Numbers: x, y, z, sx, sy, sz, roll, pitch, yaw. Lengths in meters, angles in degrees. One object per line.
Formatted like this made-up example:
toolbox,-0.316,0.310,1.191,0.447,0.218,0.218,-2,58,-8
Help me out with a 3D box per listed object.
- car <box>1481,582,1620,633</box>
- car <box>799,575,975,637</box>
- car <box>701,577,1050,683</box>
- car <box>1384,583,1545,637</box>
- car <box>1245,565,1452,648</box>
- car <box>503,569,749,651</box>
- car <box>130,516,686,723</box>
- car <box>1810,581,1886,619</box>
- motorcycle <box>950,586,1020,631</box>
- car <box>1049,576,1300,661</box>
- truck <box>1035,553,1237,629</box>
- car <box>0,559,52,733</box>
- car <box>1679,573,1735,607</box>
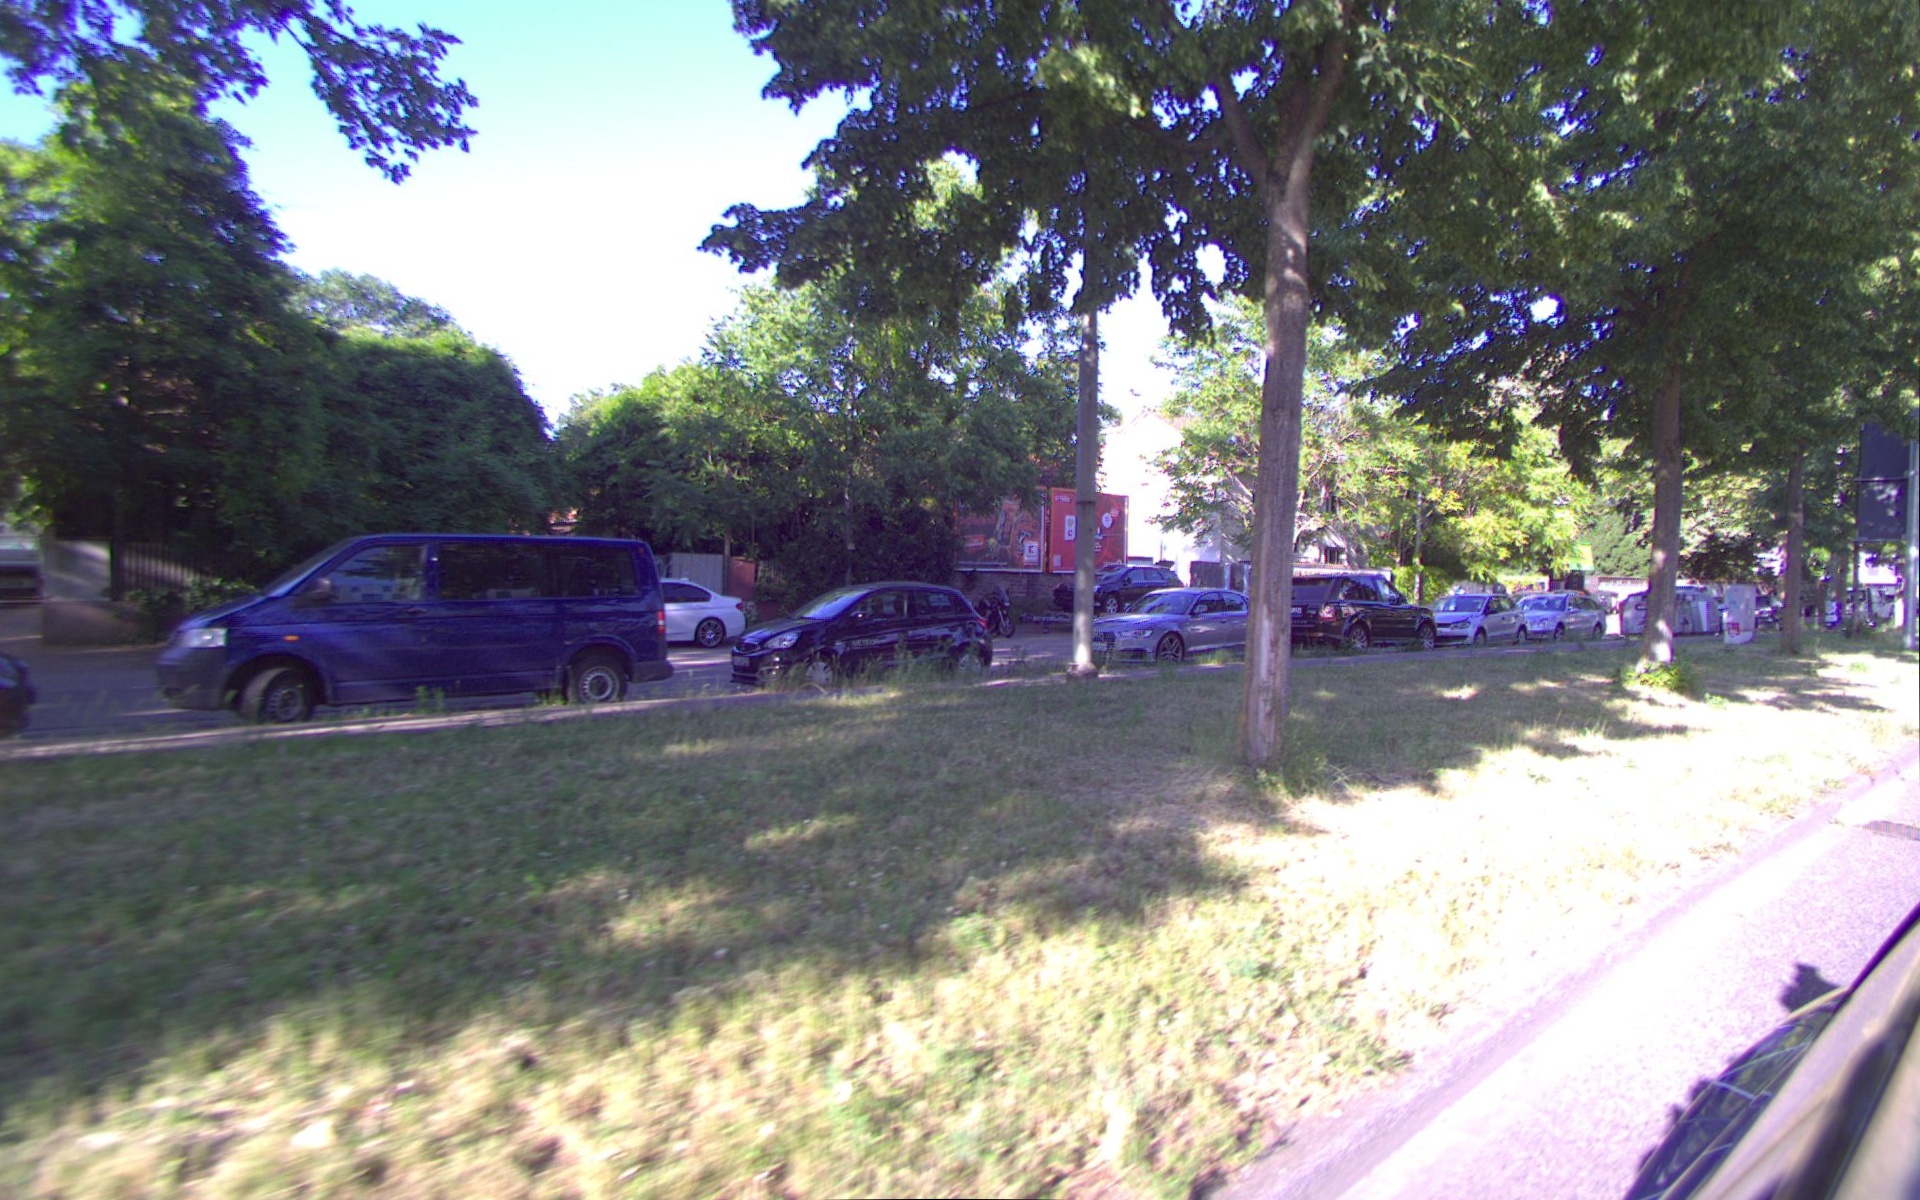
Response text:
car,16.753,0.167,28.646,4.465,1.332,1.998,-1,1,-39
car,-1.773,0.098,25.225,4.096,1.420,1.796,0,1,-38
car,-1.098,0.319,14.289,4.568,1.265,1.999,0,1,-37
car,12.569,0.208,25.153,4.037,1.225,1.999,0,1,-37
car,8.402,0.091,21.763,4.567,1.616,2.000,0,1,-36
car,-7.000,0.157,21.425,4.570,1.548,1.999,0,1,-38
car,-5.711,0.127,10.920,4.929,1.763,2.038,0,1,-38
car,39.474,-0.033,44.970,3.930,1.605,1.997,-1,1,-41
motorcycle,0.653,0.212,26.964,1.727,1.163,0.728,1,1,29
car,4.061,0.261,18.714,4.778,1.380,1.998,-1,1,-39
truck,5.483,-0.308,30.911,6.462,2.101,2.455,-1,1,-39
car,-9.602,0.363,7.759,3.844,1.397,1.942,-1,1,-40
car,46.525,-0.655,63.028,3.930,2.039,1.997,-1,1,-41
